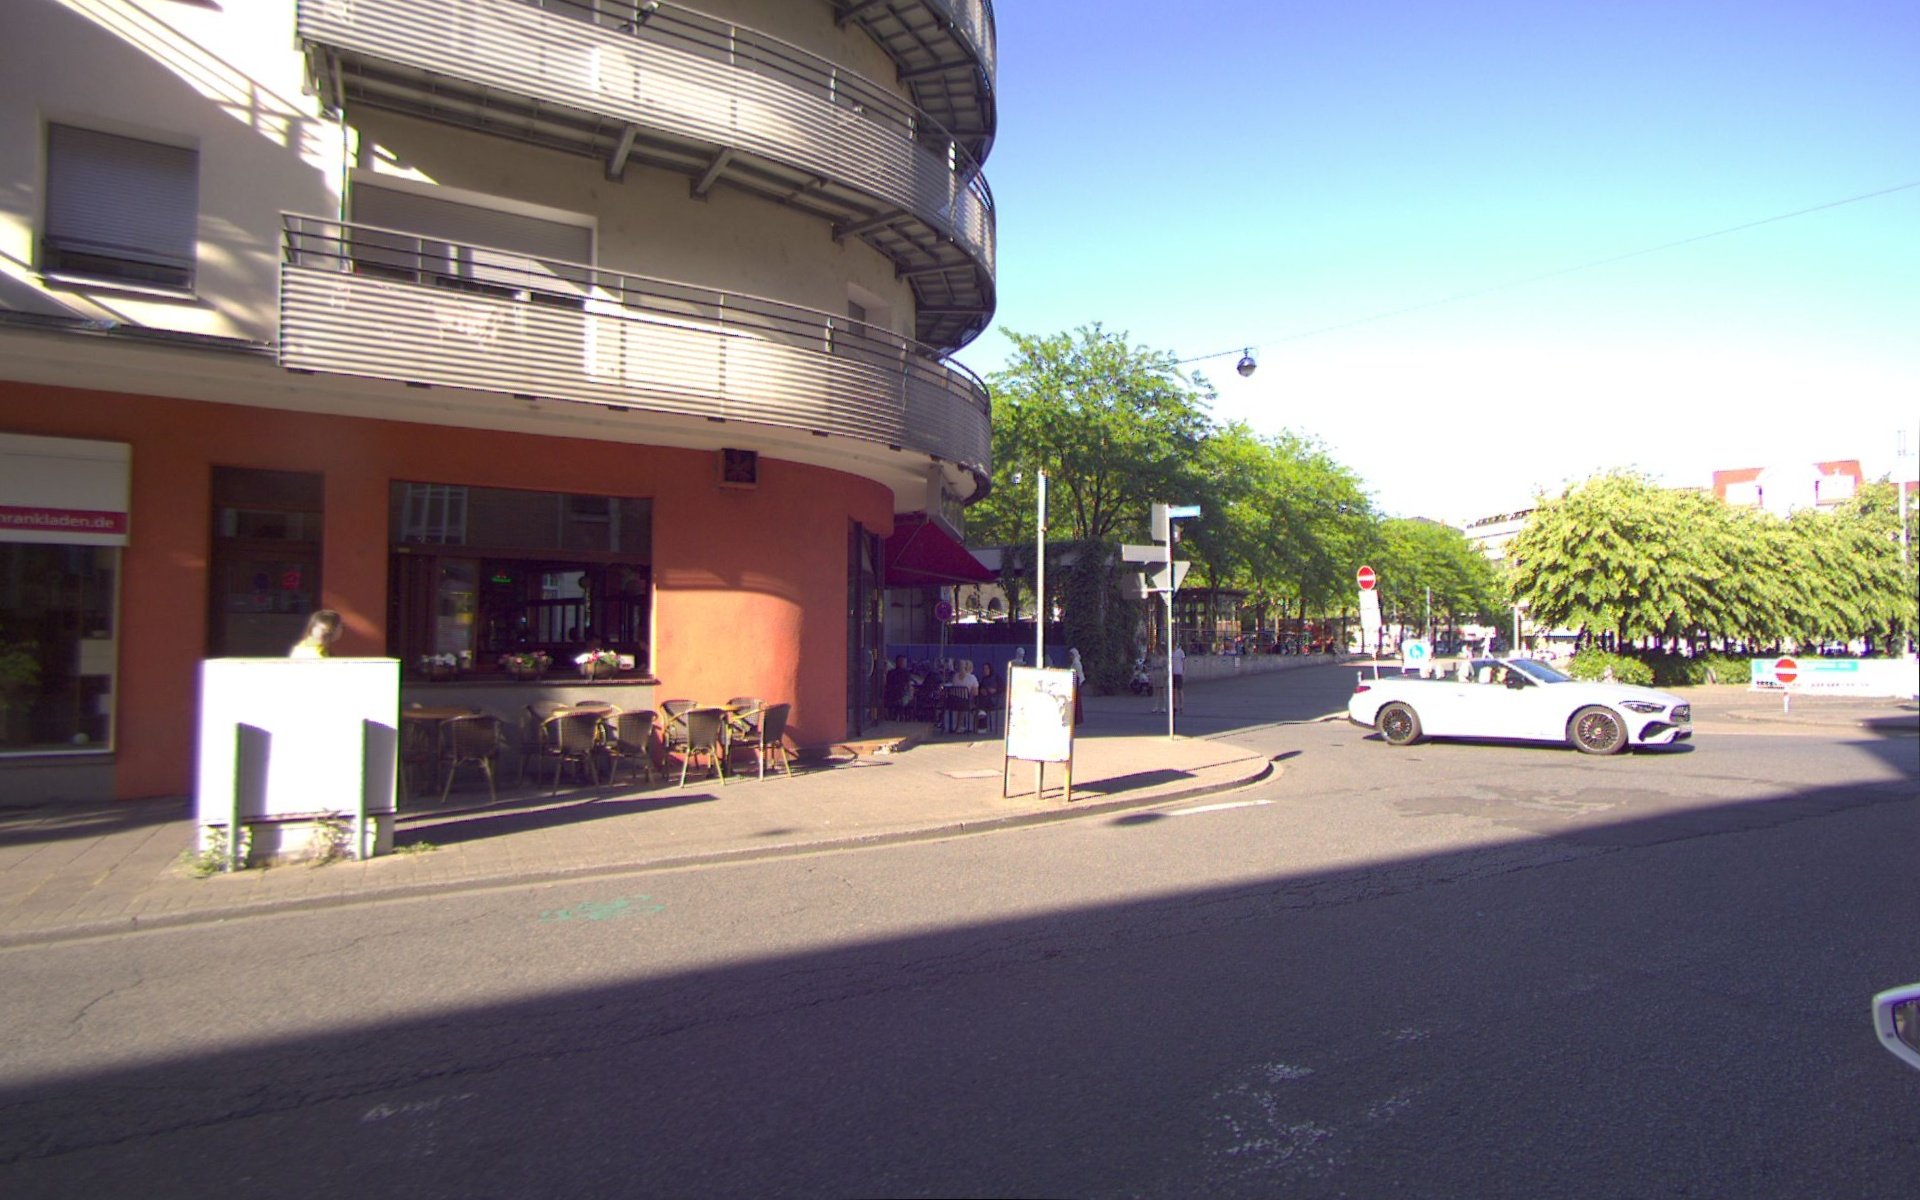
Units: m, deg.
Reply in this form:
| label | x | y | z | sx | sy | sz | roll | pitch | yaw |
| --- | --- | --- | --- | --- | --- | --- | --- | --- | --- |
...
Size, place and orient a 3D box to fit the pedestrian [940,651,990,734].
| label | x | y | z | sx | sy | sz | roll | pitch | yaw |
| --- | --- | --- | --- | --- | --- | --- | --- | --- | --- |
| pedestrian | 0.088 | 1.542 | 16.960 | 0.565 | 1.357 | 0.698 | -1 | -2 | 32 |

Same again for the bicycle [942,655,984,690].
| label | x | y | z | sx | sy | sz | roll | pitch | yaw |
| --- | --- | --- | --- | --- | --- | --- | --- | --- | --- |
| bicycle | 0.124 | 2.470 | 34.490 | 0.497 | 1.146 | 1.961 | -2 | -3 | 32 |

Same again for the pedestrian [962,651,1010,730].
| label | x | y | z | sx | sy | sz | roll | pitch | yaw |
| --- | --- | --- | --- | --- | --- | --- | --- | --- | --- |
| pedestrian | 0.459 | 1.570 | 17.627 | 0.565 | 1.357 | 0.698 | -1 | -2 | 32 |

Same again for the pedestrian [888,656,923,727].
| label | x | y | z | sx | sy | sz | roll | pitch | yaw |
| --- | --- | --- | --- | --- | --- | --- | --- | --- | --- |
| pedestrian | -1.078 | 1.803 | 19.957 | 0.563 | 1.357 | 0.701 | 0 | -2 | 8 |

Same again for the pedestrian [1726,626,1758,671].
| label | x | y | z | sx | sy | sz | roll | pitch | yaw |
| --- | --- | --- | --- | --- | --- | --- | --- | --- | --- |
| pedestrian | 37.824 | 2.351 | 48.598 | 0.949 | 2.136 | 0.734 | 1 | -2 | -7 |

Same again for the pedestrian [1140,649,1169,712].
| label | x | y | z | sx | sy | sz | roll | pitch | yaw |
| --- | --- | --- | --- | --- | --- | --- | --- | --- | --- |
| pedestrian | 5.112 | 2.097 | 26.378 | 0.605 | 1.634 | 0.582 | -1 | -3 | 28 |

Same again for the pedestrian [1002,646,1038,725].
| label | x | y | z | sx | sy | sz | roll | pitch | yaw |
| --- | --- | --- | --- | --- | --- | --- | --- | --- | --- |
| pedestrian | 1.214 | 1.708 | 20.270 | 0.563 | 1.555 | 0.700 | -1 | -2 | 20 |

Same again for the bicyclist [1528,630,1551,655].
| label | x | y | z | sx | sy | sz | roll | pitch | yaw |
| --- | --- | --- | --- | --- | --- | --- | --- | --- | --- |
| bicyclist | 39.821 | 2.908 | 69.006 | 1.199 | 1.722 | 0.958 | 2 | -2 | -34 |

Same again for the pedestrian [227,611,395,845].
| label | x | y | z | sx | sy | sz | roll | pitch | yaw |
| --- | --- | --- | --- | --- | --- | --- | --- | --- | --- |
| pedestrian | -4.985 | 0.941 | 7.794 | 1.024 | 1.681 | 0.662 | 1 | -2 | -30 |

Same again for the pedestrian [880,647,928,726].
| label | x | y | z | sx | sy | sz | roll | pitch | yaw |
| --- | --- | --- | --- | --- | --- | --- | --- | --- | --- |
| pedestrian | -0.990 | 1.529 | 17.942 | 0.565 | 1.357 | 0.698 | -1 | -2 | 32 |

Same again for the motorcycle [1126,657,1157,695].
| label | x | y | z | sx | sy | sz | roll | pitch | yaw |
| --- | --- | --- | --- | --- | --- | --- | --- | --- | --- |
| motorcycle | 5.988 | 2.494 | 33.228 | 0.496 | 1.224 | 1.693 | 0 | -3 | -8 |

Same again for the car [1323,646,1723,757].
| label | x | y | z | sx | sy | sz | roll | pitch | yaw |
| --- | --- | --- | --- | --- | --- | --- | --- | --- | --- |
| car | 8.523 | 1.492 | 15.665 | 1.985 | 1.441 | 5.057 | 2 | -5 | -41 |

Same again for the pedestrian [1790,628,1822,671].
| label | x | y | z | sx | sy | sz | roll | pitch | yaw |
| --- | --- | --- | --- | --- | --- | --- | --- | --- | --- |
| pedestrian | 42.508 | 2.461 | 50.474 | 0.949 | 2.136 | 0.734 | 1 | -2 | -7 |

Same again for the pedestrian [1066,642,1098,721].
| label | x | y | z | sx | sy | sz | roll | pitch | yaw |
| --- | --- | --- | --- | --- | --- | --- | --- | --- | --- |
| pedestrian | 2.439 | 1.622 | 20.099 | 0.532 | 1.555 | 0.553 | -1 | -2 | 19 |

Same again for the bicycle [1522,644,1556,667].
| label | x | y | z | sx | sy | sz | roll | pitch | yaw |
| --- | --- | --- | --- | --- | --- | --- | --- | --- | --- |
| bicycle | 39.712 | 3.813 | 68.901 | 2.661 | 1.523 | 0.958 | 2 | -2 | -35 |

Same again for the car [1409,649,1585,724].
| label | x | y | z | sx | sy | sz | roll | pitch | yaw |
| --- | --- | --- | --- | --- | --- | --- | --- | --- | --- |
| car | 12.329 | 1.896 | 22.983 | 4.494 | 1.441 | 1.737 | 0 | -2 | -36 |

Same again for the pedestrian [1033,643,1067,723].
| label | x | y | z | sx | sy | sz | roll | pitch | yaw |
| --- | --- | --- | --- | --- | --- | --- | --- | --- | --- |
| pedestrian | 1.800 | 1.644 | 20.051 | 0.531 | 1.555 | 0.687 | -1 | -2 | 20 |

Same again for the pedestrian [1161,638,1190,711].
| label | x | y | z | sx | sy | sz | roll | pitch | yaw |
| --- | --- | --- | --- | --- | --- | --- | --- | --- | --- |
| pedestrian | 5.557 | 1.911 | 25.895 | 0.577 | 1.851 | 0.558 | -1 | -3 | 28 |
